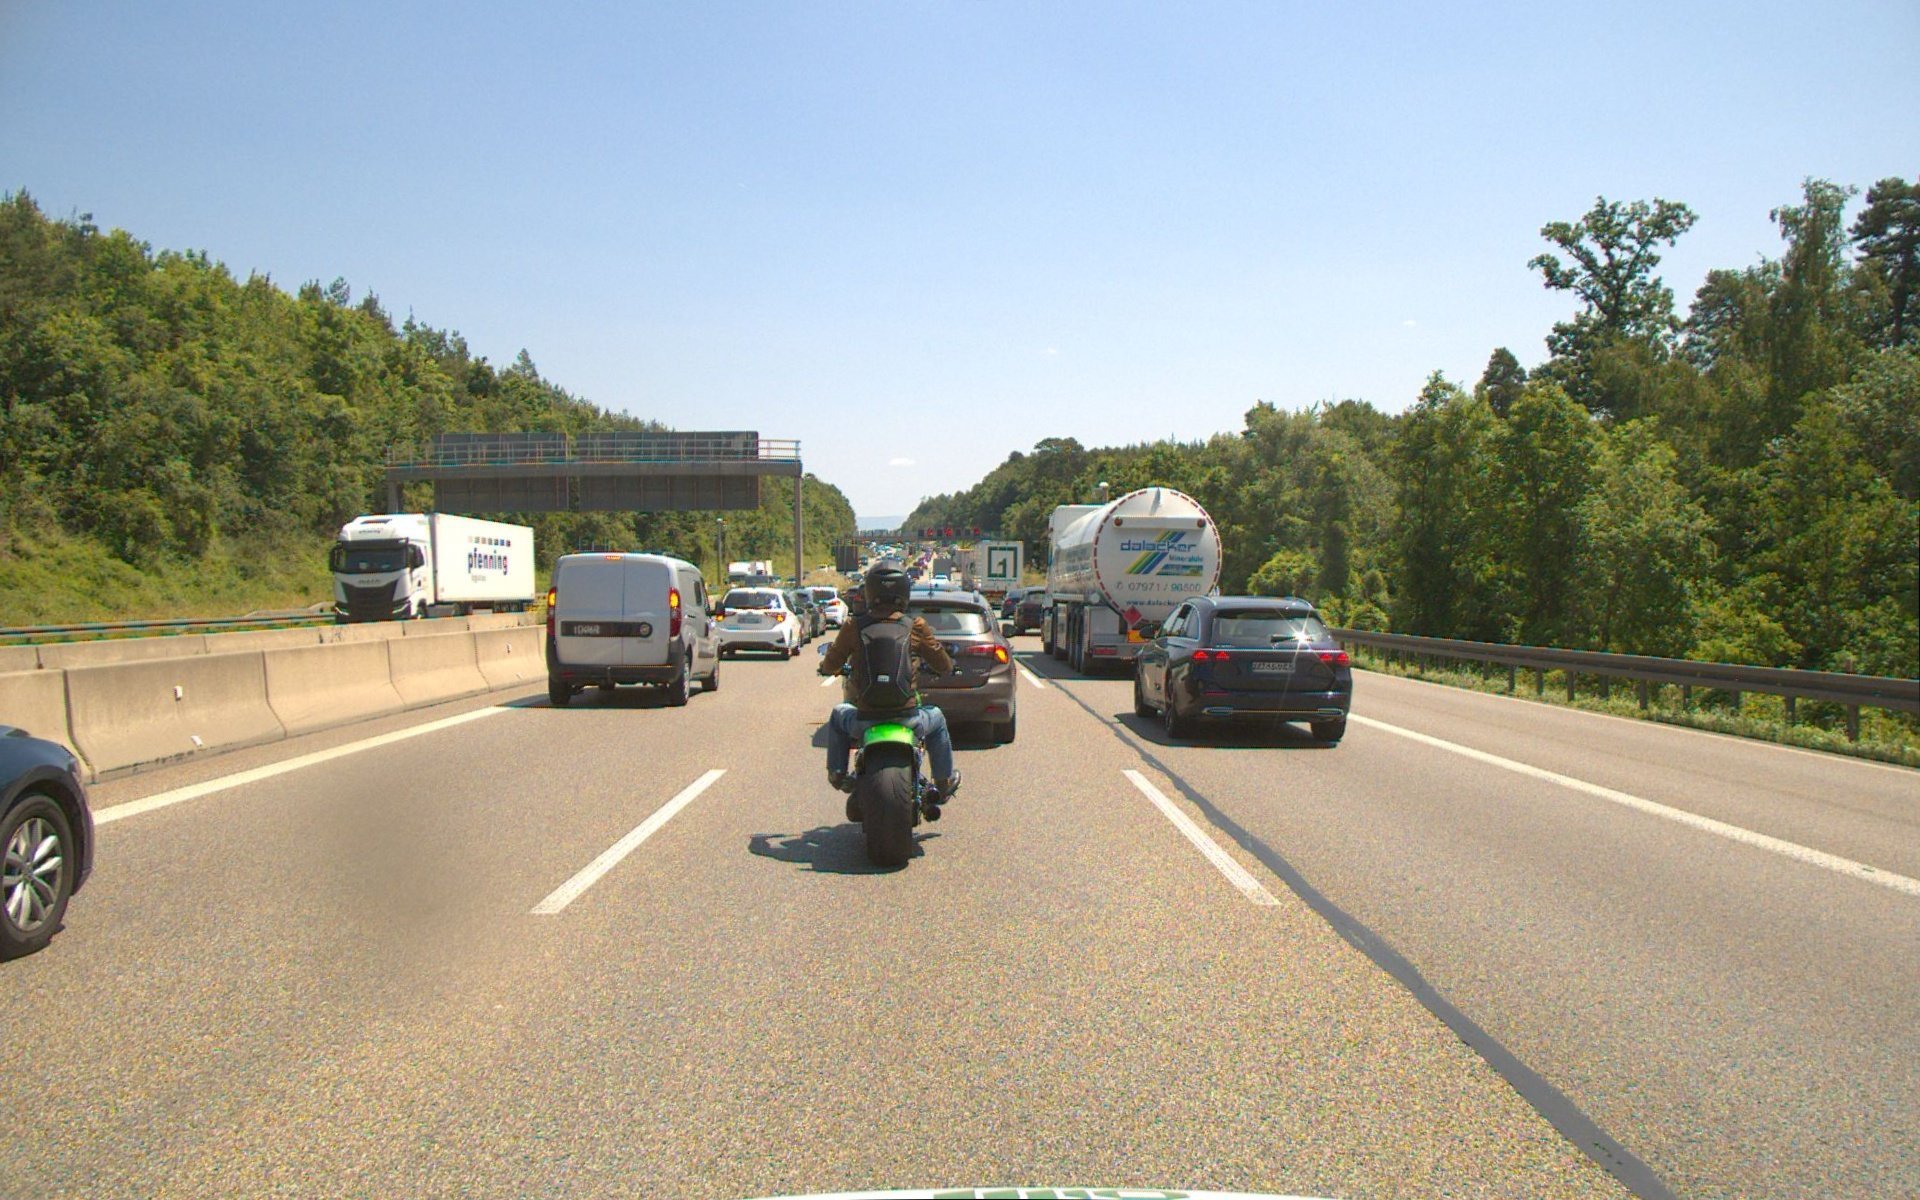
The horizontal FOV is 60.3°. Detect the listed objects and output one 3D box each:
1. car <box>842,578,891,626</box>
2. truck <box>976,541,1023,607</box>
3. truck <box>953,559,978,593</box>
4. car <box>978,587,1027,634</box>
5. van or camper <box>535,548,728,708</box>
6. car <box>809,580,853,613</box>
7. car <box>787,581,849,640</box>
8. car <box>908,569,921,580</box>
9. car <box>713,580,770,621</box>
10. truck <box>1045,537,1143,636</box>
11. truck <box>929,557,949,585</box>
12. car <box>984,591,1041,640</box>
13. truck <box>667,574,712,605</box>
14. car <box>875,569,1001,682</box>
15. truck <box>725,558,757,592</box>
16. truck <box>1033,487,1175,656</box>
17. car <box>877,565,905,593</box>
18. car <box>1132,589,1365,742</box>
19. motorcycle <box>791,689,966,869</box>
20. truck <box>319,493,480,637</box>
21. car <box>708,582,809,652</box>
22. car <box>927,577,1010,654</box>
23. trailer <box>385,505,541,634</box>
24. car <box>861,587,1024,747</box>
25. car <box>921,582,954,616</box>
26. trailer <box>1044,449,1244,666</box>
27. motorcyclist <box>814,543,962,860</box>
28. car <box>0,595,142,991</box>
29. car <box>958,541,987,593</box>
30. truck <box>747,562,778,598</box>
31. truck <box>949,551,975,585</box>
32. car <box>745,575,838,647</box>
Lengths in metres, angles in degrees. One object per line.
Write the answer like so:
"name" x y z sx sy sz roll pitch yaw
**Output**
"car" -4.072 0.096 72.777 1.953 2.049 3.999 1 -1 -1
"truck" 2.506 -1.541 102.681 2.794 3.888 7.189 1 -1 2
"truck" 0.371 -1.568 109.958 1.558 2.148 3.752 1 -1 2
"car" 1.894 0.501 75.051 1.953 2.049 3.998 1 -1 -2
"van or camper" -4.309 0.307 22.386 1.815 1.913 4.560 1 1 -2
"car" -5.992 -0.151 76.944 1.728 1.467 3.999 1 -1 0
"car" -5.098 0.378 59.803 1.953 2.049 3.999 1 -1 -1
"car" -6.737 -3.716 244.806 1.734 1.583 3.999 0 0 -1
"car" -8.393 0.008 63.799 1.788 1.521 3.999 0 0 -2
"truck" 4.355 -0.446 55.052 2.340 3.031 8.250 1 0 -2
"truck" -2.752 -3.793 218.040 2.641 3.465 10.476 0 0 -1
"car" 1.737 0.525 56.144 1.740 1.554 3.999 1 -1 -1
"truck" -19.278 -0.718 118.317 2.304 2.049 6.489 1 -1 -2
"car" -0.391 0.414 27.864 1.953 1.741 3.998 1 -1 -2
"truck" -19.974 -2.247 151.047 2.133 2.935 6.740 1 -1 -1
"truck" 3.368 -0.615 40.189 2.770 3.735 6.428 1 -1 -1
"car" -5.230 -1.600 125.897 1.953 2.049 3.999 0 0 -1
"car" 3.079 0.664 18.568 1.755 1.484 4.623 1 -1 -1
"motorcycle" -0.442 1.010 9.899 0.917 0.807 2.298 1 0 -1
"truck" -18.989 -1.093 56.583 2.889 4.560 7.517 1 -1 0
"car" -4.366 0.372 36.329 1.740 1.435 3.999 1 -1 -1
"car" 0.164 0.389 41.636 1.953 1.806 3.998 1 -1 -2
"trailer" -19.099 -1.026 64.407 2.889 4.560 10.814 1 -1 -1
"car" -0.186 0.618 17.526 1.509 1.475 3.999 1 0 -1
"car" -1.373 -0.092 101.643 1.953 2.049 3.999 0 0 -1
"trailer" 3.469 -0.687 34.103 2.770 3.735 10.730 1 -1 -1
"motorcyclist" -0.398 0.559 9.538 0.782 1.717 1.016 1 -1 -1
"car" -4.476 0.707 4.862 1.836 1.475 4.677 1 0 -1
"car" 1.012 -2.588 134.120 2.123 3.961 9.328 1 -1 -1
"truck" -23.161 -2.338 194.063 2.637 4.059 7.989 1 -1 -1
"truck" 0.181 -3.393 179.199 2.641 3.465 10.476 0 0 -1
"car" -4.244 0.277 42.176 1.953 1.713 4.329 1 -1 -1
